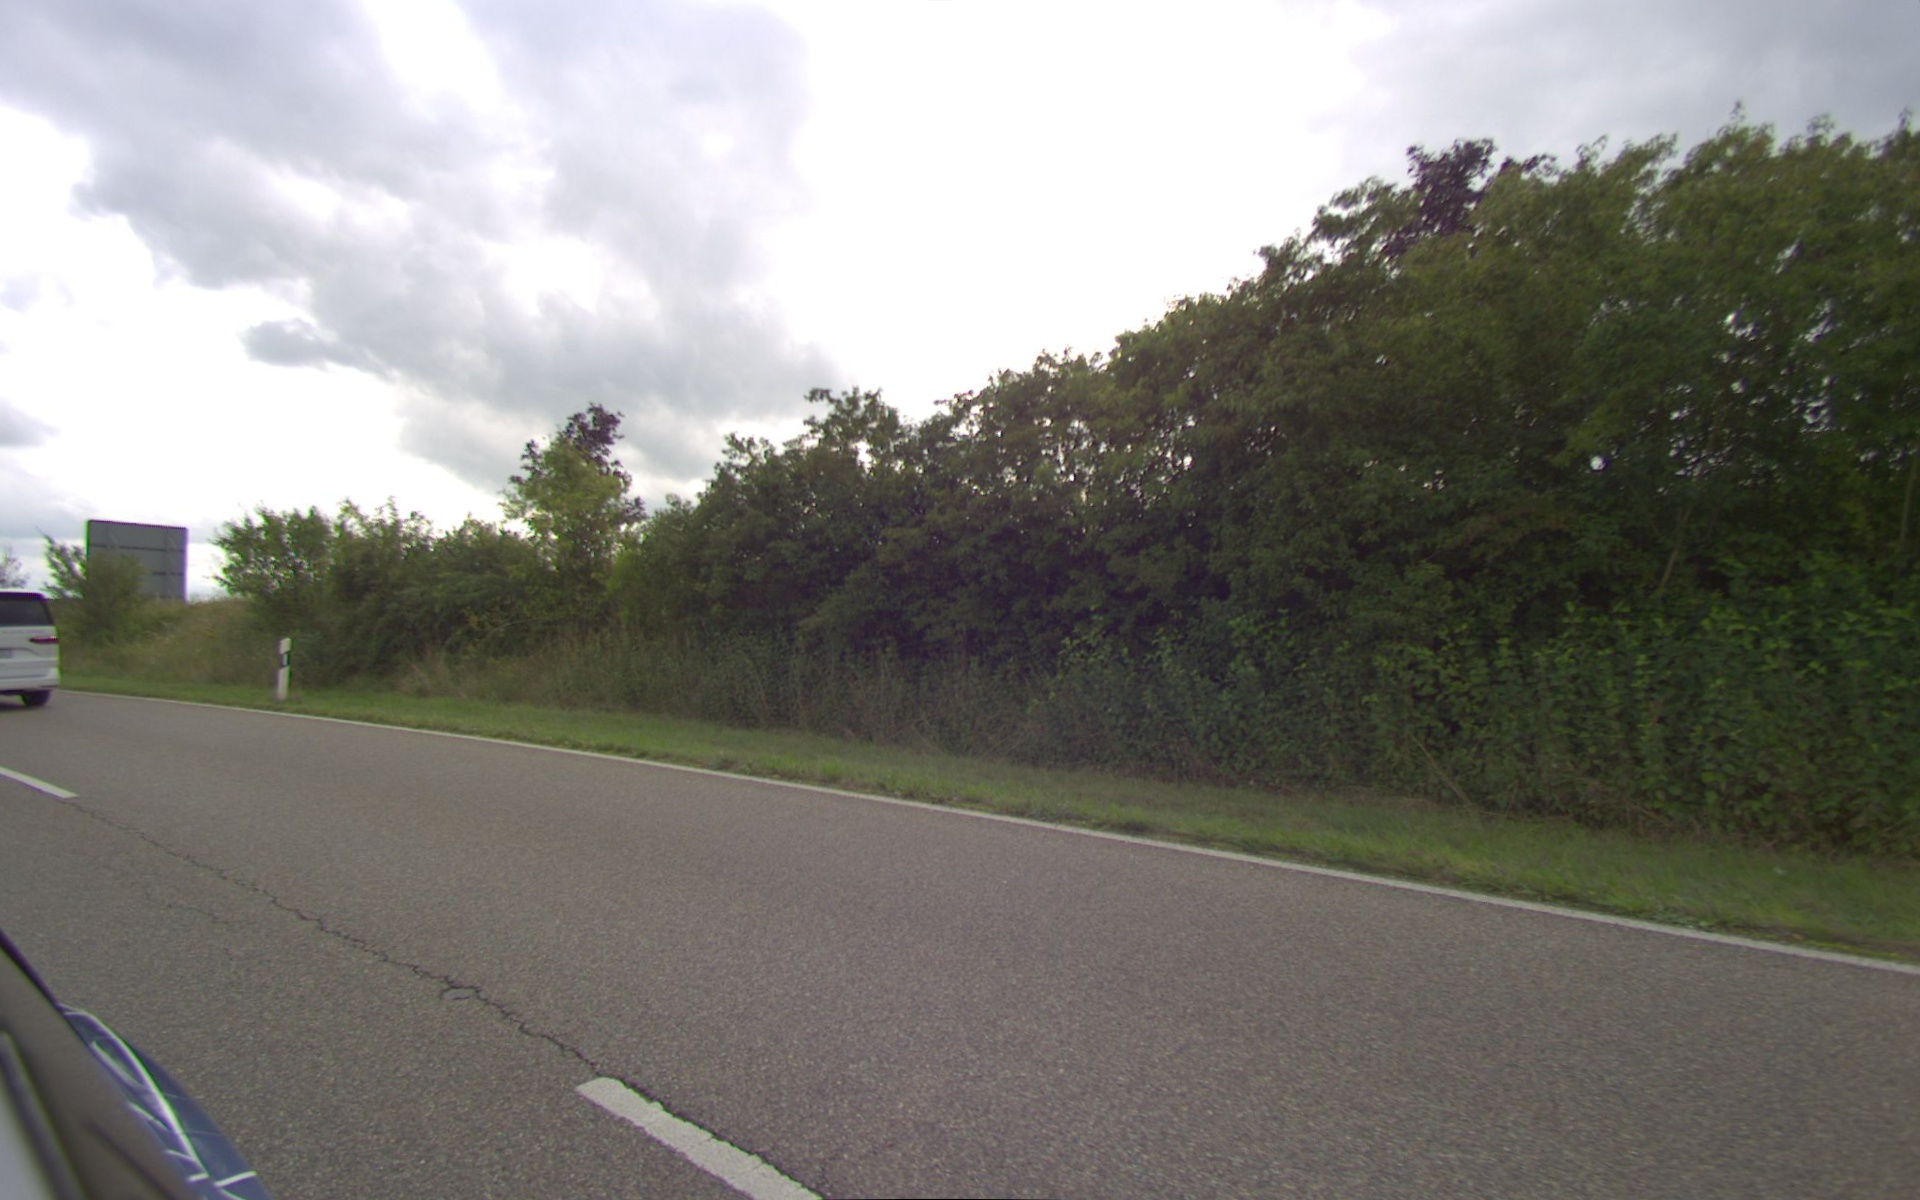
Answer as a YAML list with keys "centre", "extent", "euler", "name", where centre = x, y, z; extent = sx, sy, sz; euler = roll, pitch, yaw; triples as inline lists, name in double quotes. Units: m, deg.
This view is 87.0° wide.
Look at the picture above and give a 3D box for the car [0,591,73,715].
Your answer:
- centre: [-16.807, 0.828, 16.520]
  extent: [5.169, 1.883, 2.097]
  euler: [-1, -2, 32]
  name: "car"
